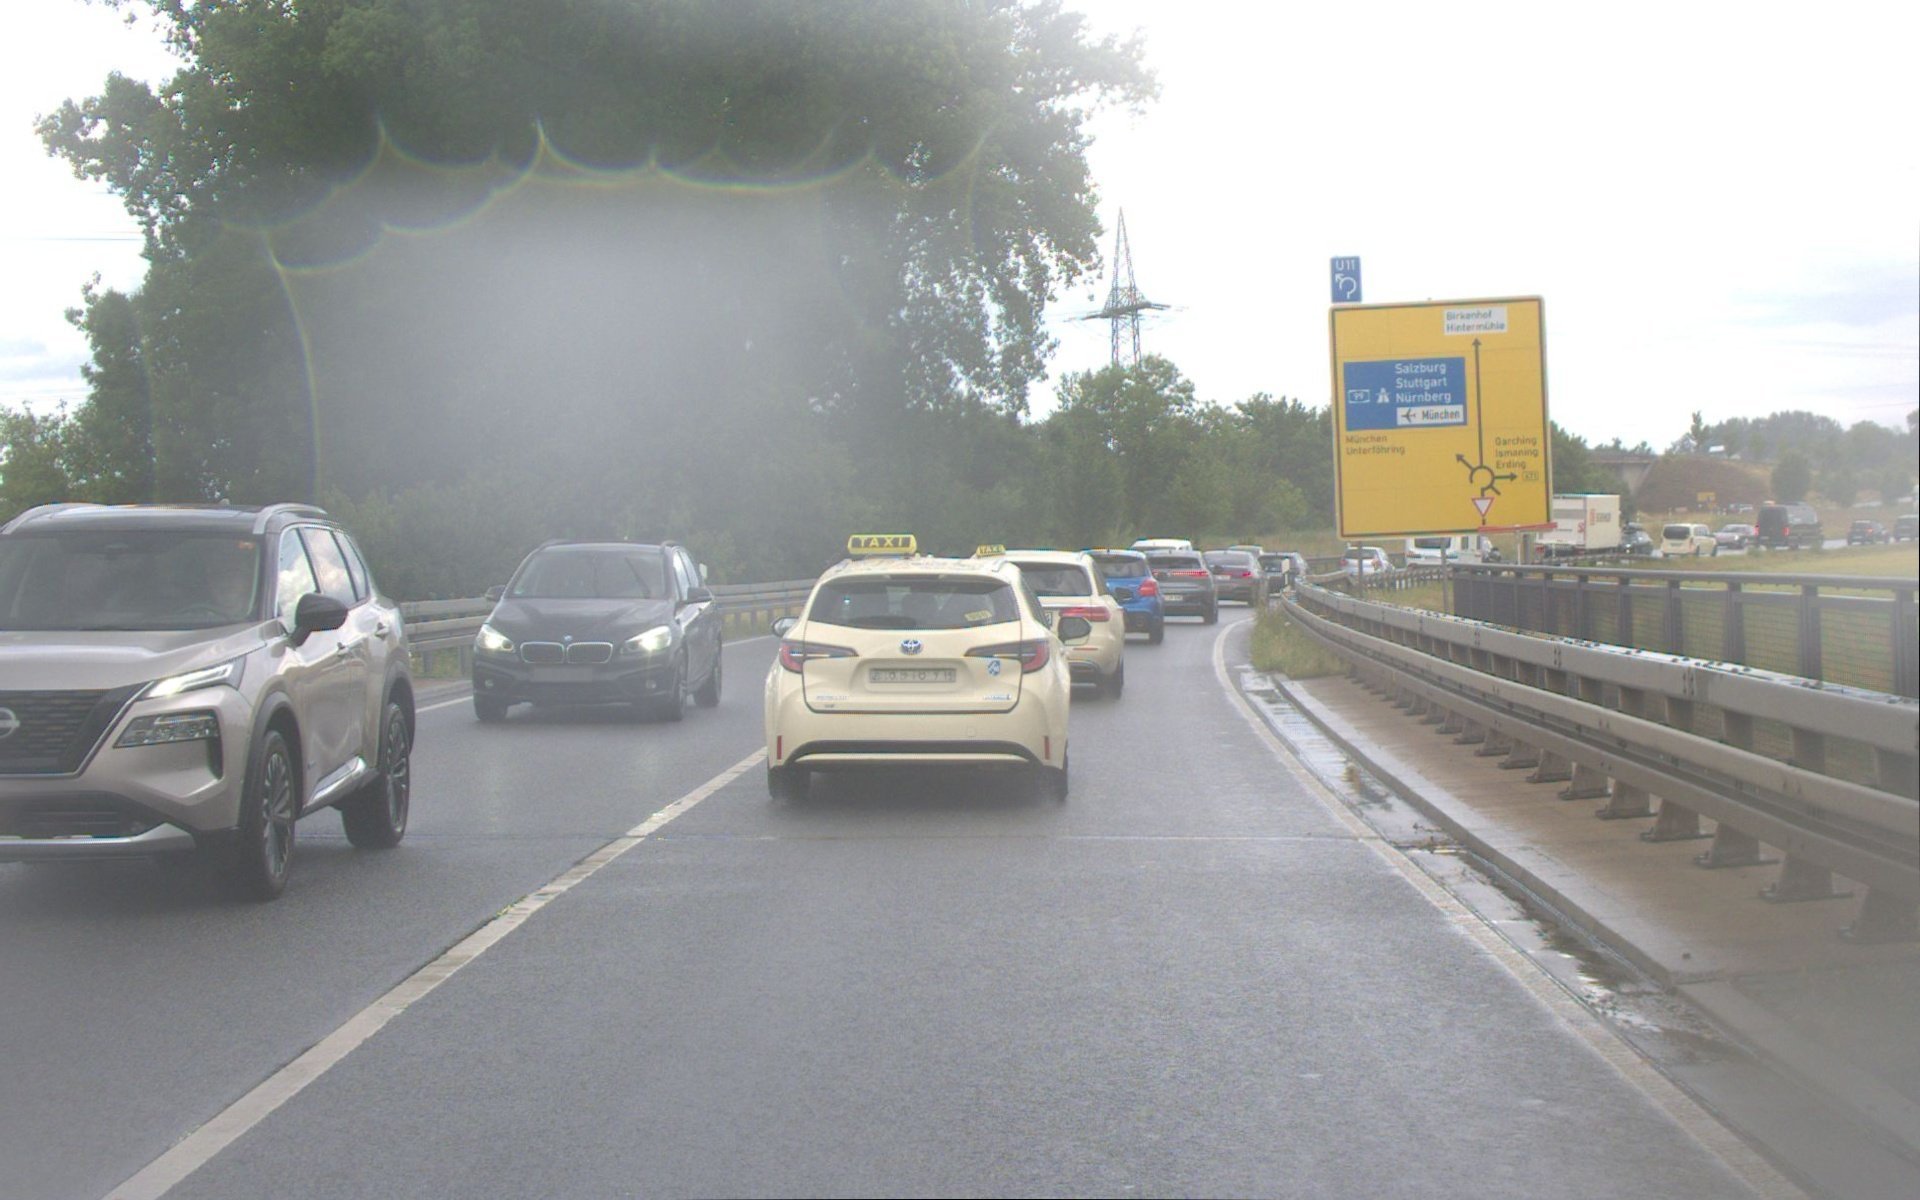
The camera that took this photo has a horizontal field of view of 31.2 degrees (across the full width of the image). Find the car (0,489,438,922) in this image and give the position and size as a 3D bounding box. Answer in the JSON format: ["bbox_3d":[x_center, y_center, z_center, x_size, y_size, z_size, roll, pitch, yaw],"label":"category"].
[{"bbox_3d":[-3.710,0.355,15.740,1.841,1.694,4.389,1,1,2],"label":"car"}]

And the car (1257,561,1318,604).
[{"bbox_3d":[10.286,-0.558,107.792,1.483,1.304,3.475,0,1,13],"label":"car"}]

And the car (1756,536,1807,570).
[{"bbox_3d":[48.644,-2.770,203.520,1.997,2.007,3.994,0,0,28],"label":"car"}]

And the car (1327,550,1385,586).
[{"bbox_3d":[14.440,-1.160,125.310,1.484,1.304,3.474,0,1,17],"label":"car"}]

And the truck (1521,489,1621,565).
[{"bbox_3d":[29.923,-3.546,168.178,3.144,3.550,7.512,0,0,23],"label":"truck"}]

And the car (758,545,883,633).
[{"bbox_3d":[-2.366,-0.201,59.249,1.835,1.438,4.103,0,0,2],"label":"car"}]

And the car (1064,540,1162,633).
[{"bbox_3d":[2.436,-0.228,55.030,1.506,1.432,3.355,0,0,2],"label":"car"}]

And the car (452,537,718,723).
[{"bbox_3d":[-3.290,0.217,30.854,1.899,1.536,4.023,0,1,1],"label":"car"}]

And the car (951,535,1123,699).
[{"bbox_3d":[0.821,0.145,34.651,1.578,1.567,3.681,0,1,4],"label":"car"}]

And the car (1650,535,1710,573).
[{"bbox_3d":[39.399,-2.522,188.119,2.170,2.007,3.994,0,0,28],"label":"car"}]

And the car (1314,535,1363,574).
[{"bbox_3d":[17.212,-2.066,156.287,1.518,1.715,3.417,0,0,19],"label":"car"}]

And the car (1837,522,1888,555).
[{"bbox_3d":[56.730,-3.849,216.067,2.229,2.007,3.994,0,0,27],"label":"car"}]

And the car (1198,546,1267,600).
[{"bbox_3d":[7.385,-0.708,92.858,1.661,1.404,3.903,0,0,7],"label":"car"}]

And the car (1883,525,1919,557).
[{"bbox_3d":[61.532,-3.849,223.727,1.996,2.007,3.994,0,0,27],"label":"car"}]

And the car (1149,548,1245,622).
[{"bbox_3d":[4.825,-0.314,69.633,1.666,1.459,3.475,0,1,9],"label":"car"}]

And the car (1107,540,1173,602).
[{"bbox_3d":[5.657,-0.939,107.704,1.862,1.885,4.489,0,1,6],"label":"car"}]

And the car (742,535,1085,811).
[{"bbox_3d":[-0.231,0.385,21.237,1.906,1.532,4.161,0,1,1],"label":"car"}]

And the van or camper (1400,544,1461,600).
[{"bbox_3d":[19.304,-1.132,140.947,1.995,2.246,3.997,0,0,15],"label":"van or camper"}]
